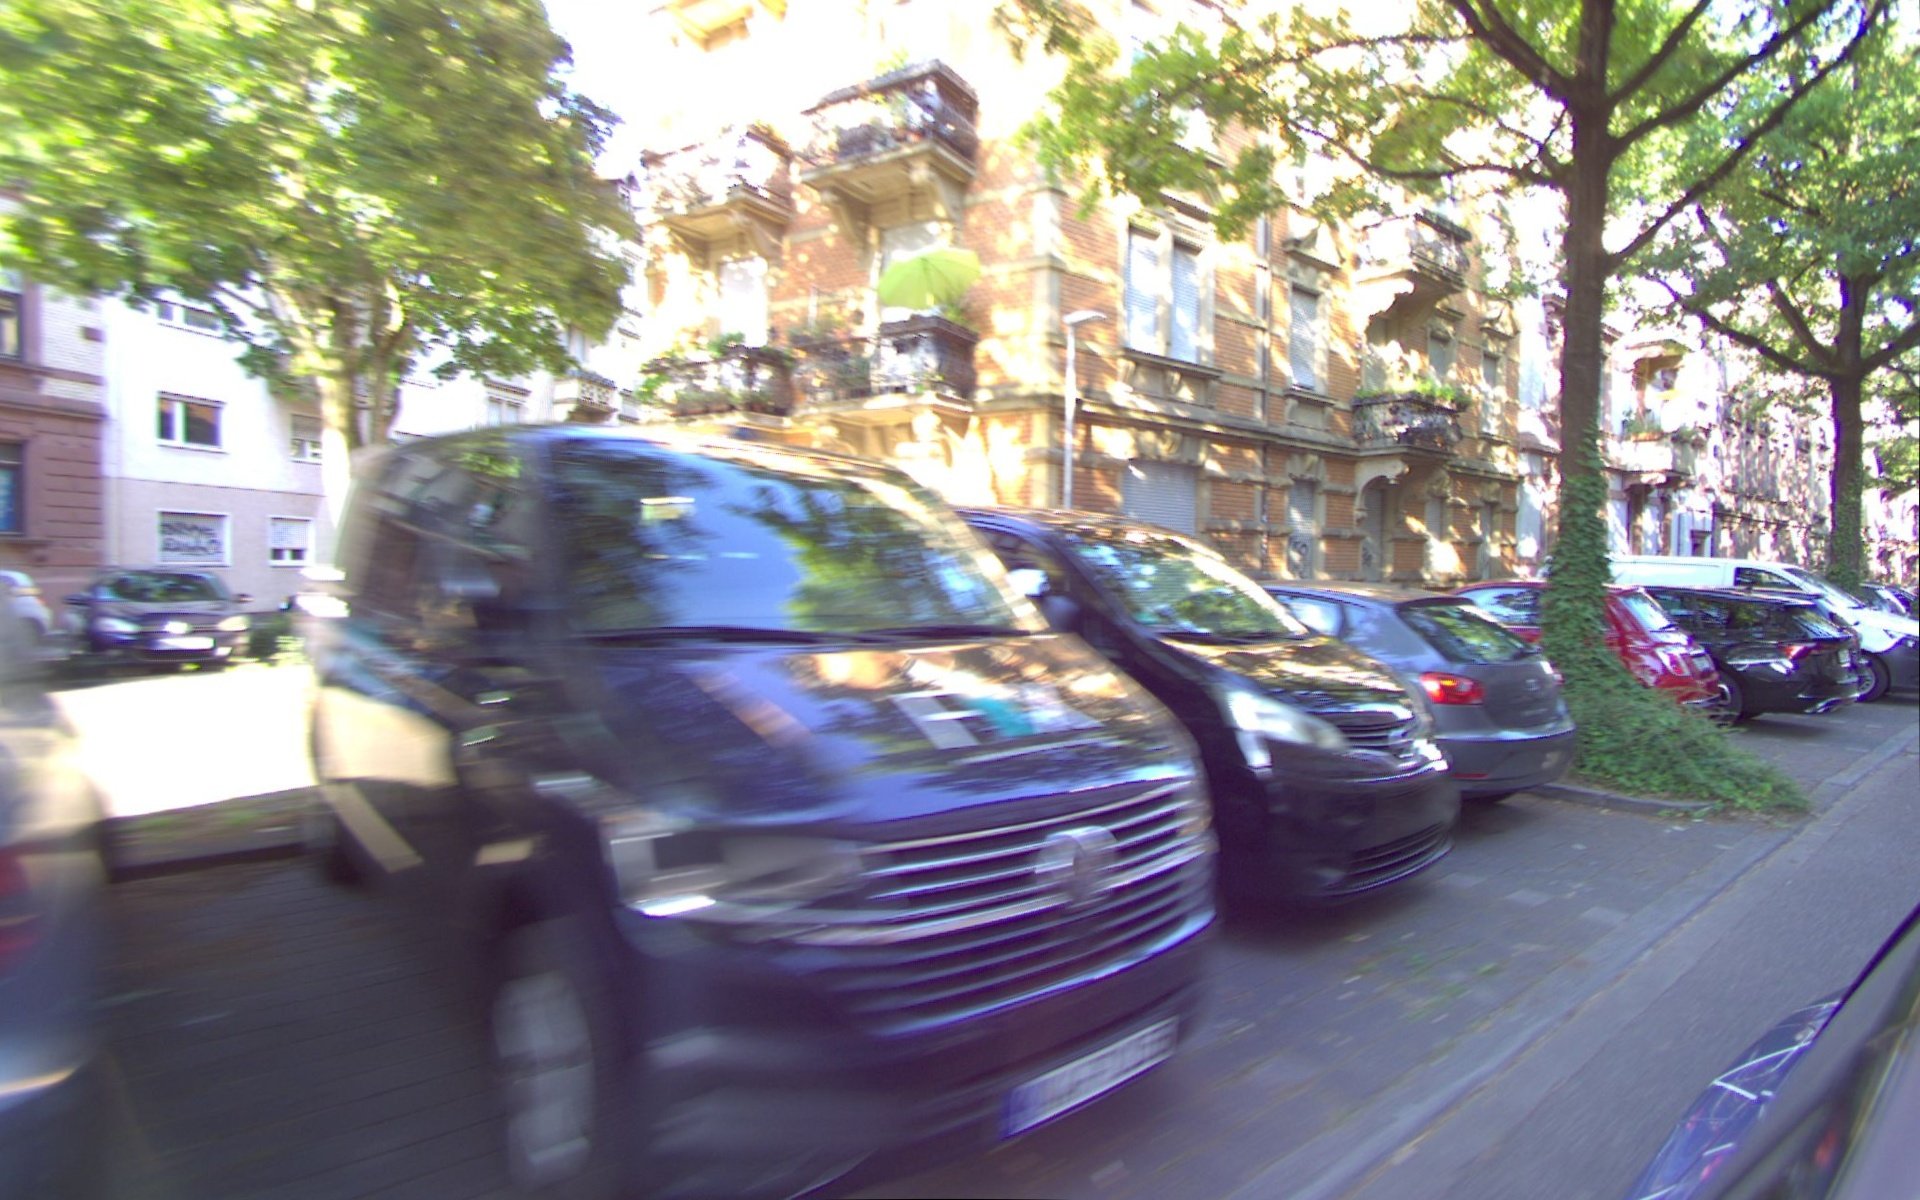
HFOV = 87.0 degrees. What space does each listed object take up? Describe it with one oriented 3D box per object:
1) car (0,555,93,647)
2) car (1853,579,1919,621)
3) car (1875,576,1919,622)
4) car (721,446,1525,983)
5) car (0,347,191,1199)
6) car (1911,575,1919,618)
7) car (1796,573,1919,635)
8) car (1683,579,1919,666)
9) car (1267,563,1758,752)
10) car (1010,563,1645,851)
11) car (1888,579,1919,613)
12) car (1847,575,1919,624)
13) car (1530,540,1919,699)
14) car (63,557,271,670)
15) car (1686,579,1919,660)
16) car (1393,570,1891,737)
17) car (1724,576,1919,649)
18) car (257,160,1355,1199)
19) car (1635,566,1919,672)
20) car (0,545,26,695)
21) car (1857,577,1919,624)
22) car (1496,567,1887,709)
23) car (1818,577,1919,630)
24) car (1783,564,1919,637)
[{"bbox_3d":[-17.808,0.020,17.364,1.838,1.601,4.231,1,2,12],"label":"car"},{"bbox_3d":[34.989,0.016,36.353,1.769,1.488,4.111,0,2,-39],"label":"car"},{"bbox_3d":[37.134,-0.029,37.597,1.859,1.676,4.484,-2,3,-41],"label":"car"},{"bbox_3d":[0.576,0.325,5.804,1.907,1.908,4.273,-1,2,-43],"label":"car"},{"bbox_3d":[-3.168,0.442,2.464,1.769,1.713,3.993,-1,2,-42],"label":"car"},{"bbox_3d":[39.811,-0.092,38.921,1.858,1.676,4.487,-2,3,-38],"label":"car"},{"bbox_3d":[26.004,0.095,28.177,1.753,1.610,3.992,-1,3,-43],"label":"car"},{"bbox_3d":[17.169,0.378,20.213,1.778,1.521,4.115,0,2,-39],"label":"car"},{"bbox_3d":[5.509,0.411,10.539,1.811,1.516,4.091,-1,3,-40],"label":"car"},{"bbox_3d":[2.338,0.486,7.383,1.855,1.465,4.000,0,2,-36],"label":"car"},{"bbox_3d":[44.069,-0.162,45.024,1.659,1.513,3.992,-1,2,-43],"label":"car"},{"bbox_3d":[30.218,0.056,31.263,1.648,1.404,3.997,0,5,-41],"label":"car"},{"bbox_3d":[11.726,0.140,15.215,2.121,1.962,5.103,-5,5,-40],"label":"car"},{"bbox_3d":[-10.863,0.078,13.758,1.833,1.292,4.059,-1,2,-44],"label":"car"},{"bbox_3d":[18.800,0.358,21.914,1.898,1.521,4.669,0,2,-40],"label":"car"},{"bbox_3d":[7.569,0.433,11.624,1.899,1.473,4.380,-1,3,-40],"label":"car"},{"bbox_3d":[21.085,0.255,23.859,1.964,1.548,4.564,0,2,-39],"label":"car"},{"bbox_3d":[-1.169,0.270,3.912,1.966,2.038,4.622,-1,2,-42],"label":"car"},{"bbox_3d":[14.775,0.250,18.367,1.696,1.669,3.890,-1,2,-42],"label":"car"},{"bbox_3d":[-11.716,0.163,11.286,1.833,1.528,4.059,-1,2,-44],"label":"car"},{"bbox_3d":[33.306,0.024,34.282,1.771,1.555,4.227,0,2,-43],"label":"car"},{"bbox_3d":[9.587,0.374,13.480,3.987,1.492,1.755,4,3,42],"label":"car"},{"bbox_3d":[27.989,0.108,29.779,1.753,1.480,3.992,-1,3,-43],"label":"car"},{"bbox_3d":[24.354,0.028,26.050,1.850,1.723,4.651,-1,4,-43],"label":"car"}]
